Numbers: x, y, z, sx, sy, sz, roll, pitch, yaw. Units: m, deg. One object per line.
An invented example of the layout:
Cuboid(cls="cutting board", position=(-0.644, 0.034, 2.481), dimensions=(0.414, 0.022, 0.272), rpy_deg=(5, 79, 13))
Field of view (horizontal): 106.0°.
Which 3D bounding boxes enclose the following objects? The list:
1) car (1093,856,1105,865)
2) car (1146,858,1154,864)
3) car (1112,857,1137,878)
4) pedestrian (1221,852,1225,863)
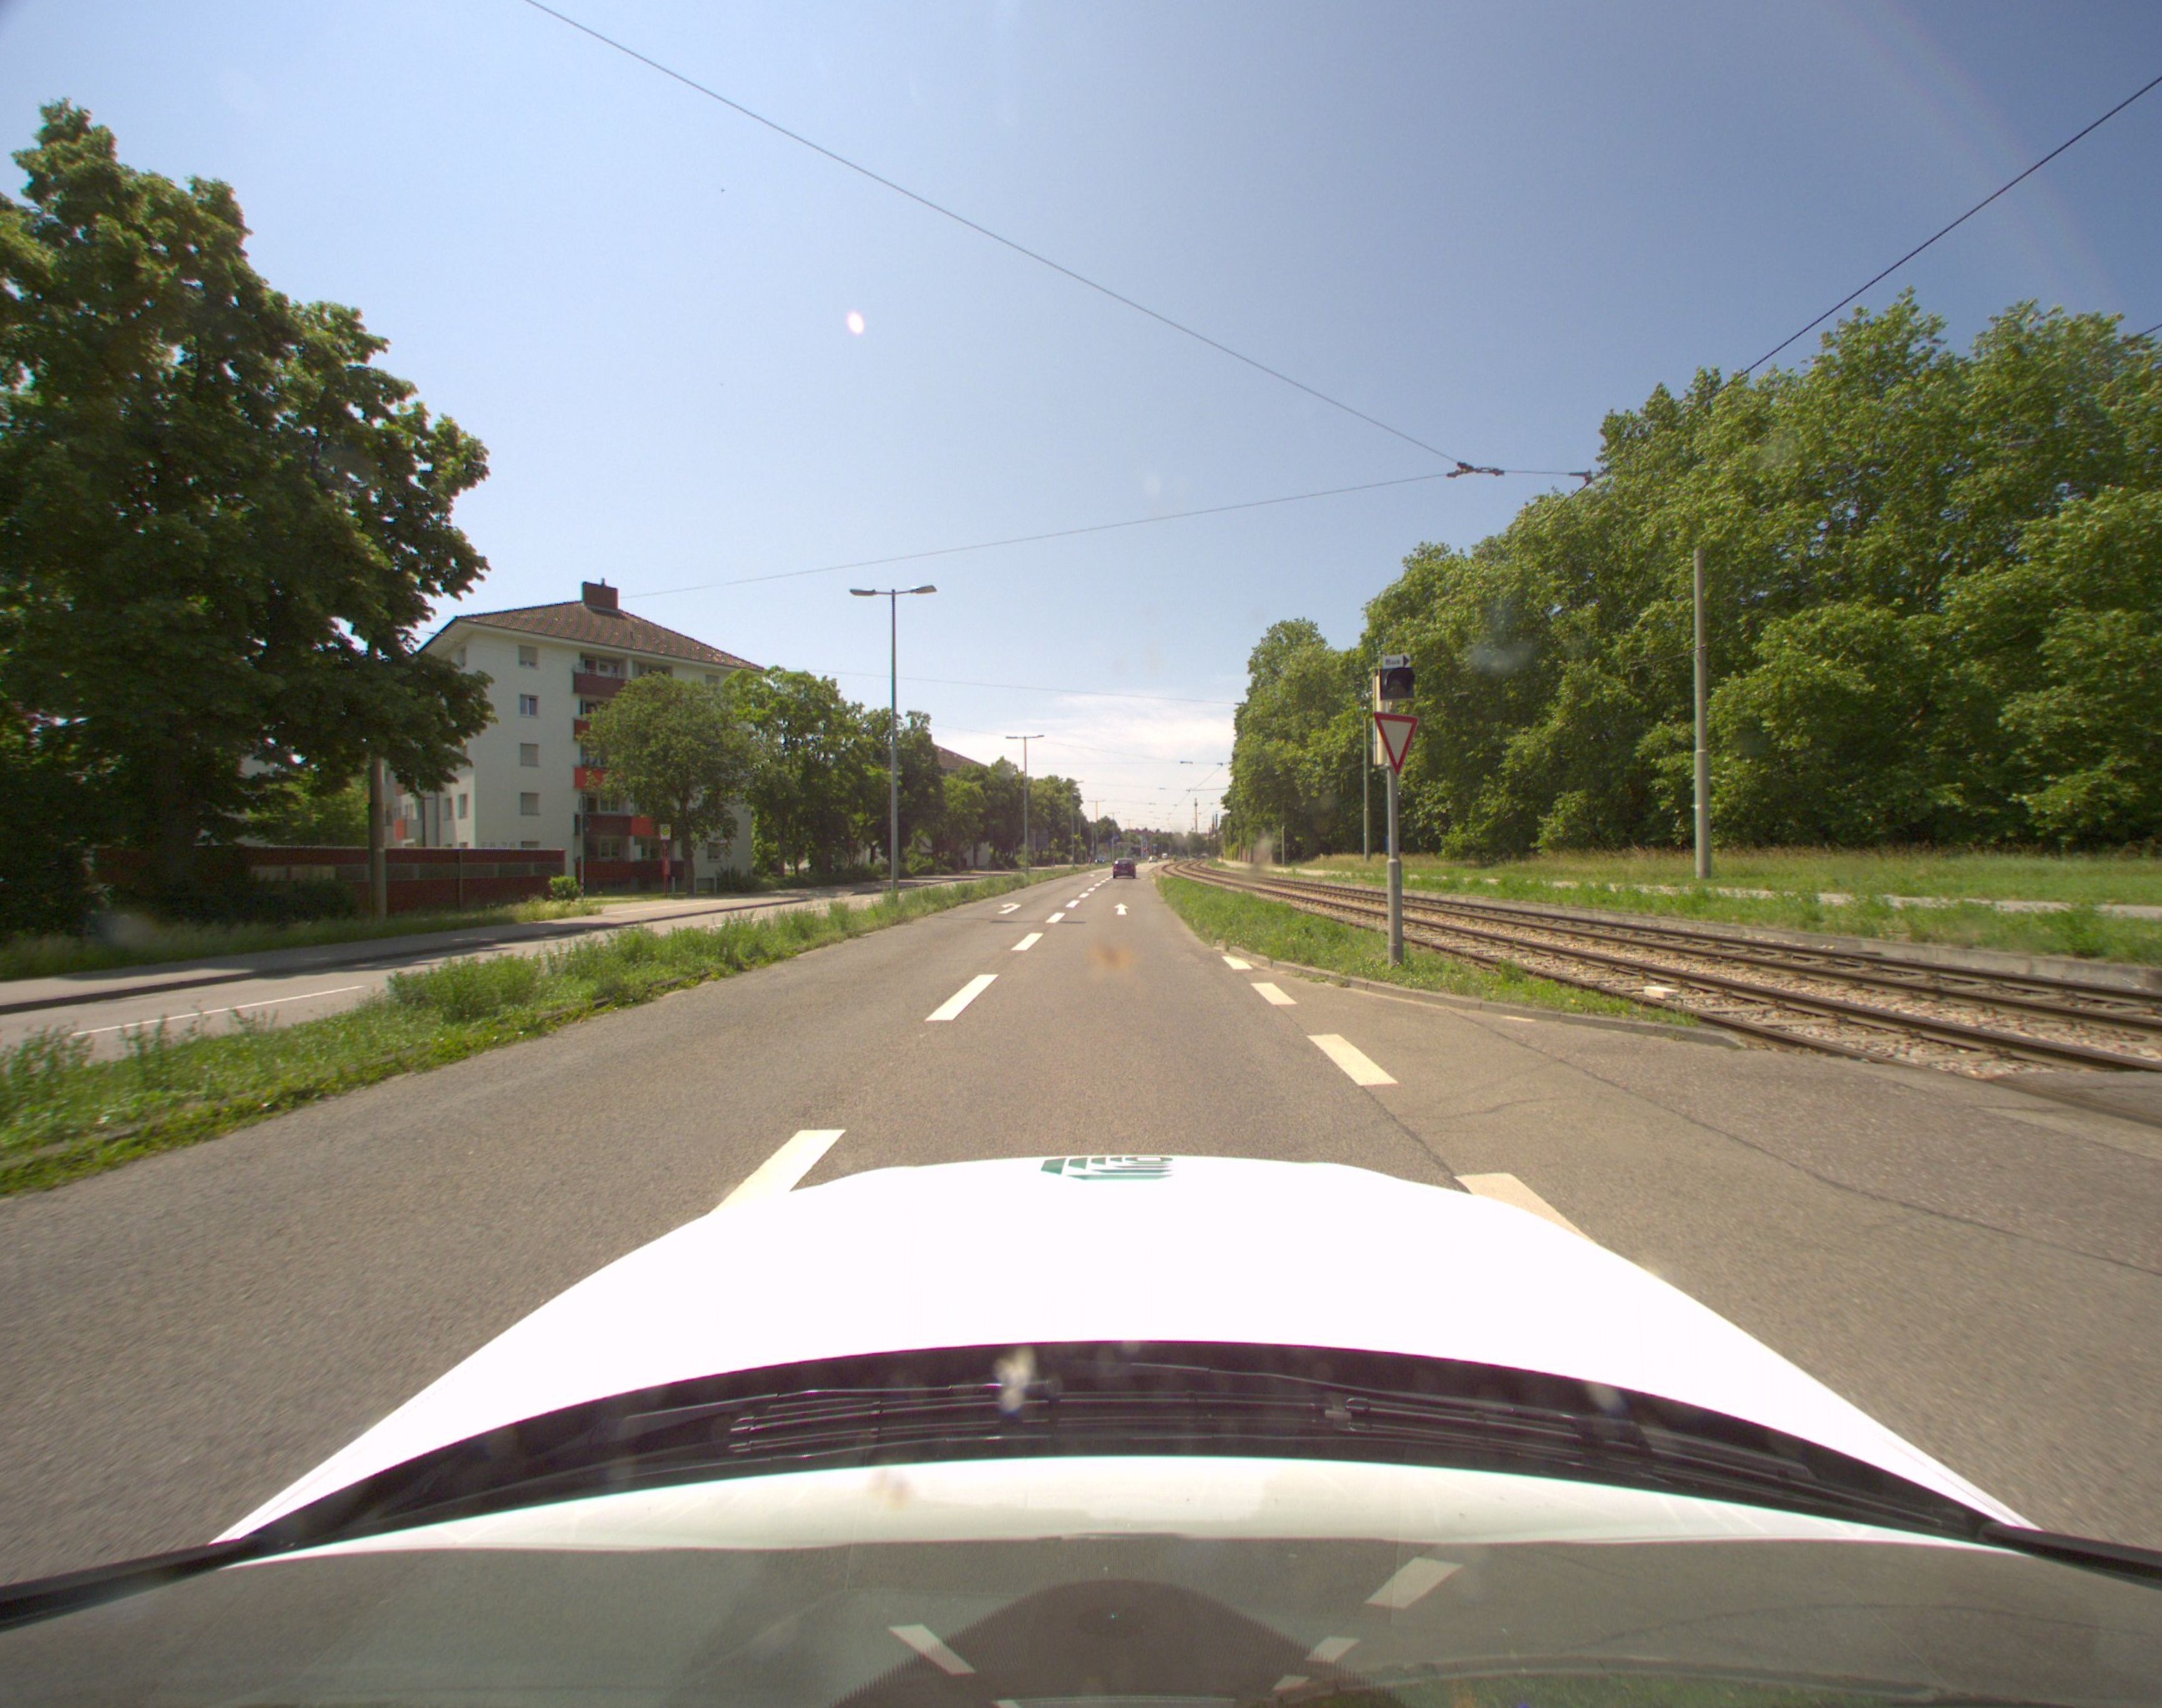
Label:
Cuboid(cls="car", position=(3.412, 1.313, 156.475), dimensions=(1.914, 1.626, 4.763), rpy_deg=(-2, -1, 5))
Cuboid(cls="car", position=(15.738, 1.576, 186.113), dimensions=(1.695, 1.480, 3.720), rpy_deg=(0, 0, 4))
Cuboid(cls="car", position=(3.157, 1.003, 59.405), dimensions=(1.696, 1.477, 3.718), rpy_deg=(1, -1, 2))
Cuboid(cls="pedestrian", position=(24.382, 0.608, 140.177), dimensions=(0.658, 1.726, 0.818), rpy_deg=(-1, 0, 8))
